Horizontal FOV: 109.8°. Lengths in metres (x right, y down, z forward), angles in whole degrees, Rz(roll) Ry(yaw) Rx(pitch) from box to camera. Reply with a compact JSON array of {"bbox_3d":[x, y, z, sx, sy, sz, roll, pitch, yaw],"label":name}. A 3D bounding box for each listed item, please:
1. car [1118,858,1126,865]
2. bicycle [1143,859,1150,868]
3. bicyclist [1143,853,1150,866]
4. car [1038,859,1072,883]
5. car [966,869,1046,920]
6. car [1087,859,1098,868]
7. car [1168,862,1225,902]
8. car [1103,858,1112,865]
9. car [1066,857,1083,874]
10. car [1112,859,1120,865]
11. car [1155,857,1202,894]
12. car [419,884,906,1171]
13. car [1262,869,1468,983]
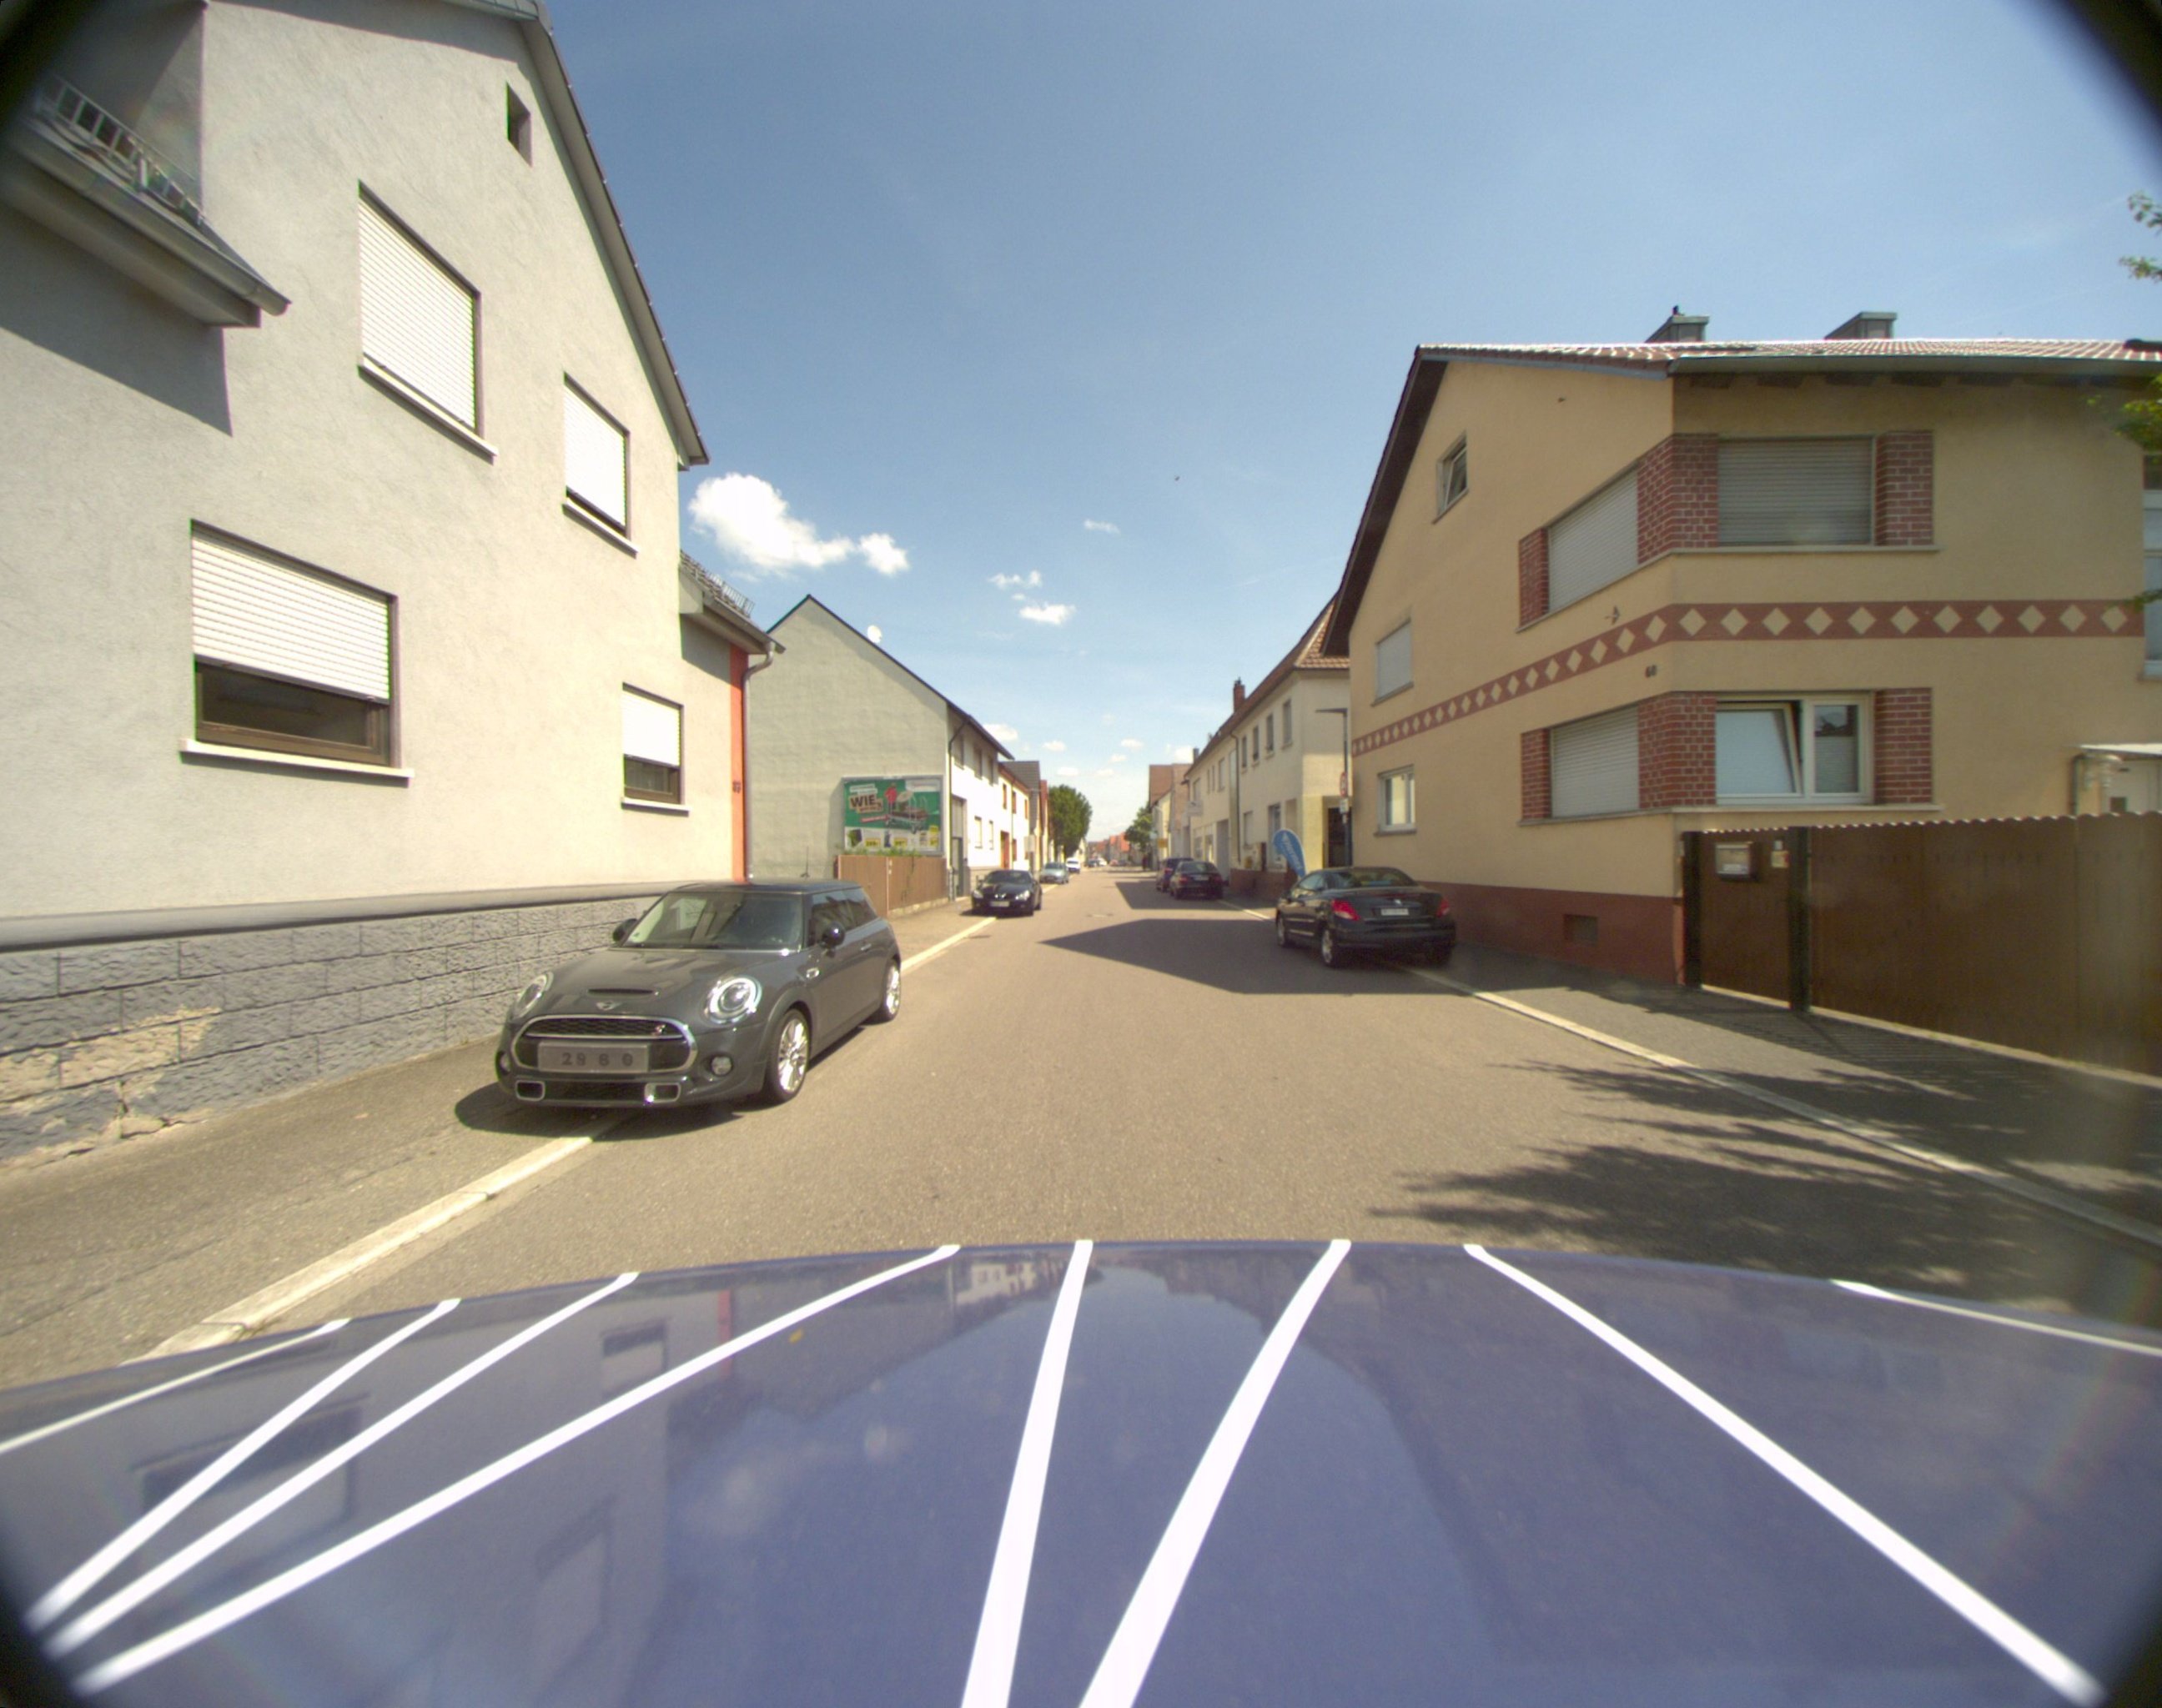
[{"bbox_3d":[8.938,1.623,166.366,1.726,1.385,4.171,-1,-2,3],"label":"car"},{"bbox_3d":[8.291,1.185,96.211,0.744,1.041,1.941,-1,0,5],"label":"bicycle"},{"bbox_3d":[8.283,0.686,96.278,0.748,1.627,0.957,-1,0,5],"label":"bicyclist"},{"bbox_3d":[-1.703,1.119,51.072,1.725,1.473,3.751,2,0,6],"label":"car"},{"bbox_3d":[-2.132,1.149,22.759,1.820,1.268,4.147,-1,0,2],"label":"car"},{"bbox_3d":[2.060,1.681,136.569,1.597,1.533,4.201,-2,0,4],"label":"car"},{"bbox_3d":[4.460,1.040,29.948,1.701,1.403,4.390,-1,0,2],"label":"car"},{"bbox_3d":[6.152,1.818,175.717,1.848,1.385,4.170,-1,-2,-1],"label":"car"},{"bbox_3d":[-0.669,1.308,87.619,1.692,1.831,4.765,2,0,2],"label":"car"},{"bbox_3d":[8.283,1.805,180.399,1.598,1.385,4.169,-2,0,2],"label":"car"},{"bbox_3d":[4.623,0.978,36.455,1.721,1.630,4.149,1,0,0],"label":"car"},{"bbox_3d":[-2.694,1.016,5.944,1.692,1.414,3.657,-1,0,2],"label":"car"},{"bbox_3d":[4.190,0.982,11.963,1.765,1.366,4.066,-2,0,1],"label":"car"}]
